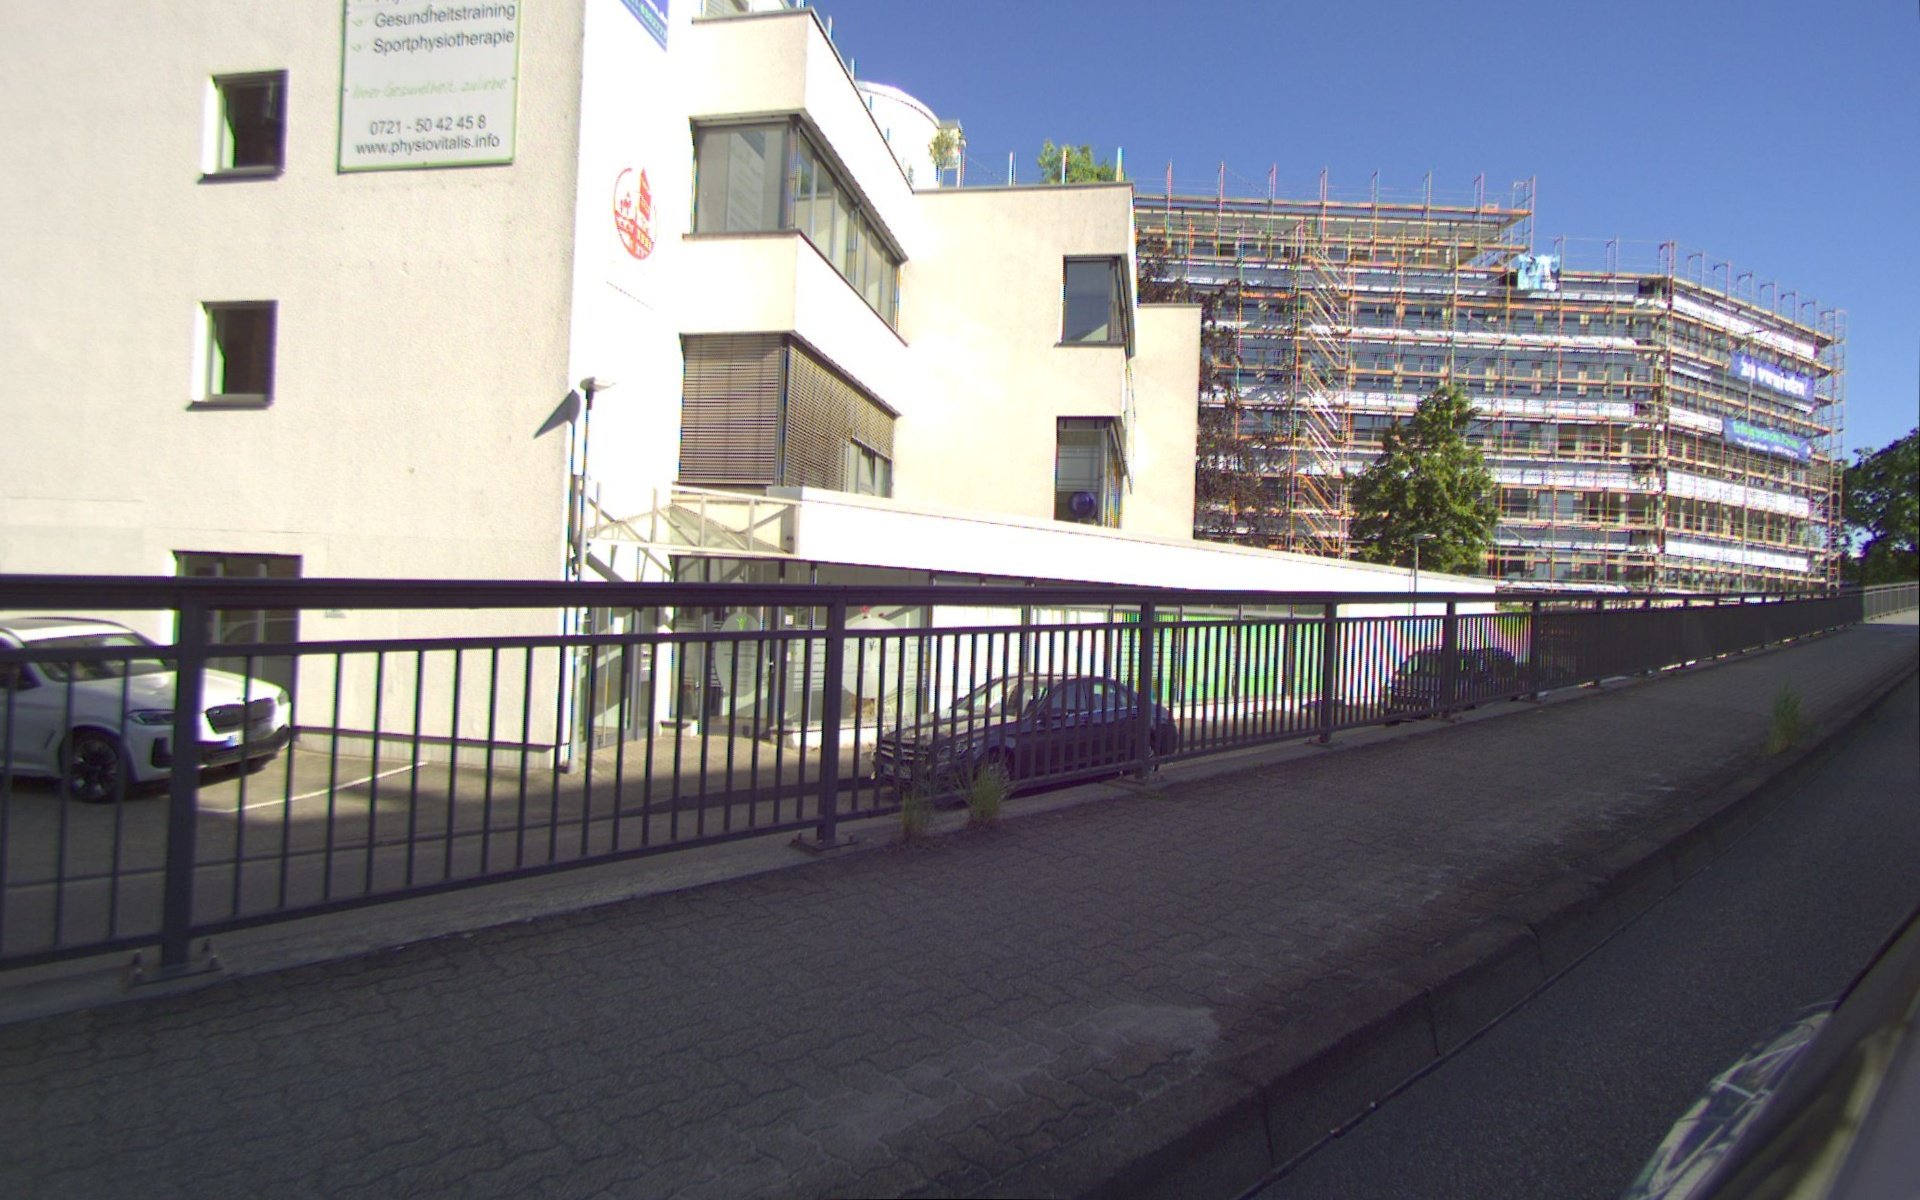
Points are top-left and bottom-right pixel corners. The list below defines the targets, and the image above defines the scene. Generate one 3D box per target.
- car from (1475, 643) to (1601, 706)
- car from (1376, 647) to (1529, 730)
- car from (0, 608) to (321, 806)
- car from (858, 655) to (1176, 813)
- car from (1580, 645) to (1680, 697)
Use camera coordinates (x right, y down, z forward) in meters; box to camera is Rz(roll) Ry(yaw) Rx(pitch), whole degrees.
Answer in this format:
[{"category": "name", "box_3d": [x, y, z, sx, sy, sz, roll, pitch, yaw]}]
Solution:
[{"category": "car", "box_3d": [14.991, 1.866, 26.163, 3.931, 1.410, 1.723, 1, -1, -42]}, {"category": "car", "box_3d": [10.869, 1.860, 22.233, 3.931, 1.541, 1.723, 1, -1, -42]}, {"category": "car", "box_3d": [-9.568, 1.019, 10.852, 4.455, 1.707, 1.840, 2, 0, 9]}, {"category": "car", "box_3d": [0.819, 1.546, 12.813, 3.929, 1.541, 1.724, 1, -1, -41]}, {"category": "car", "box_3d": [21.098, 2.171, 31.803, 3.931, 1.410, 1.723, 1, -1, -42]}]
